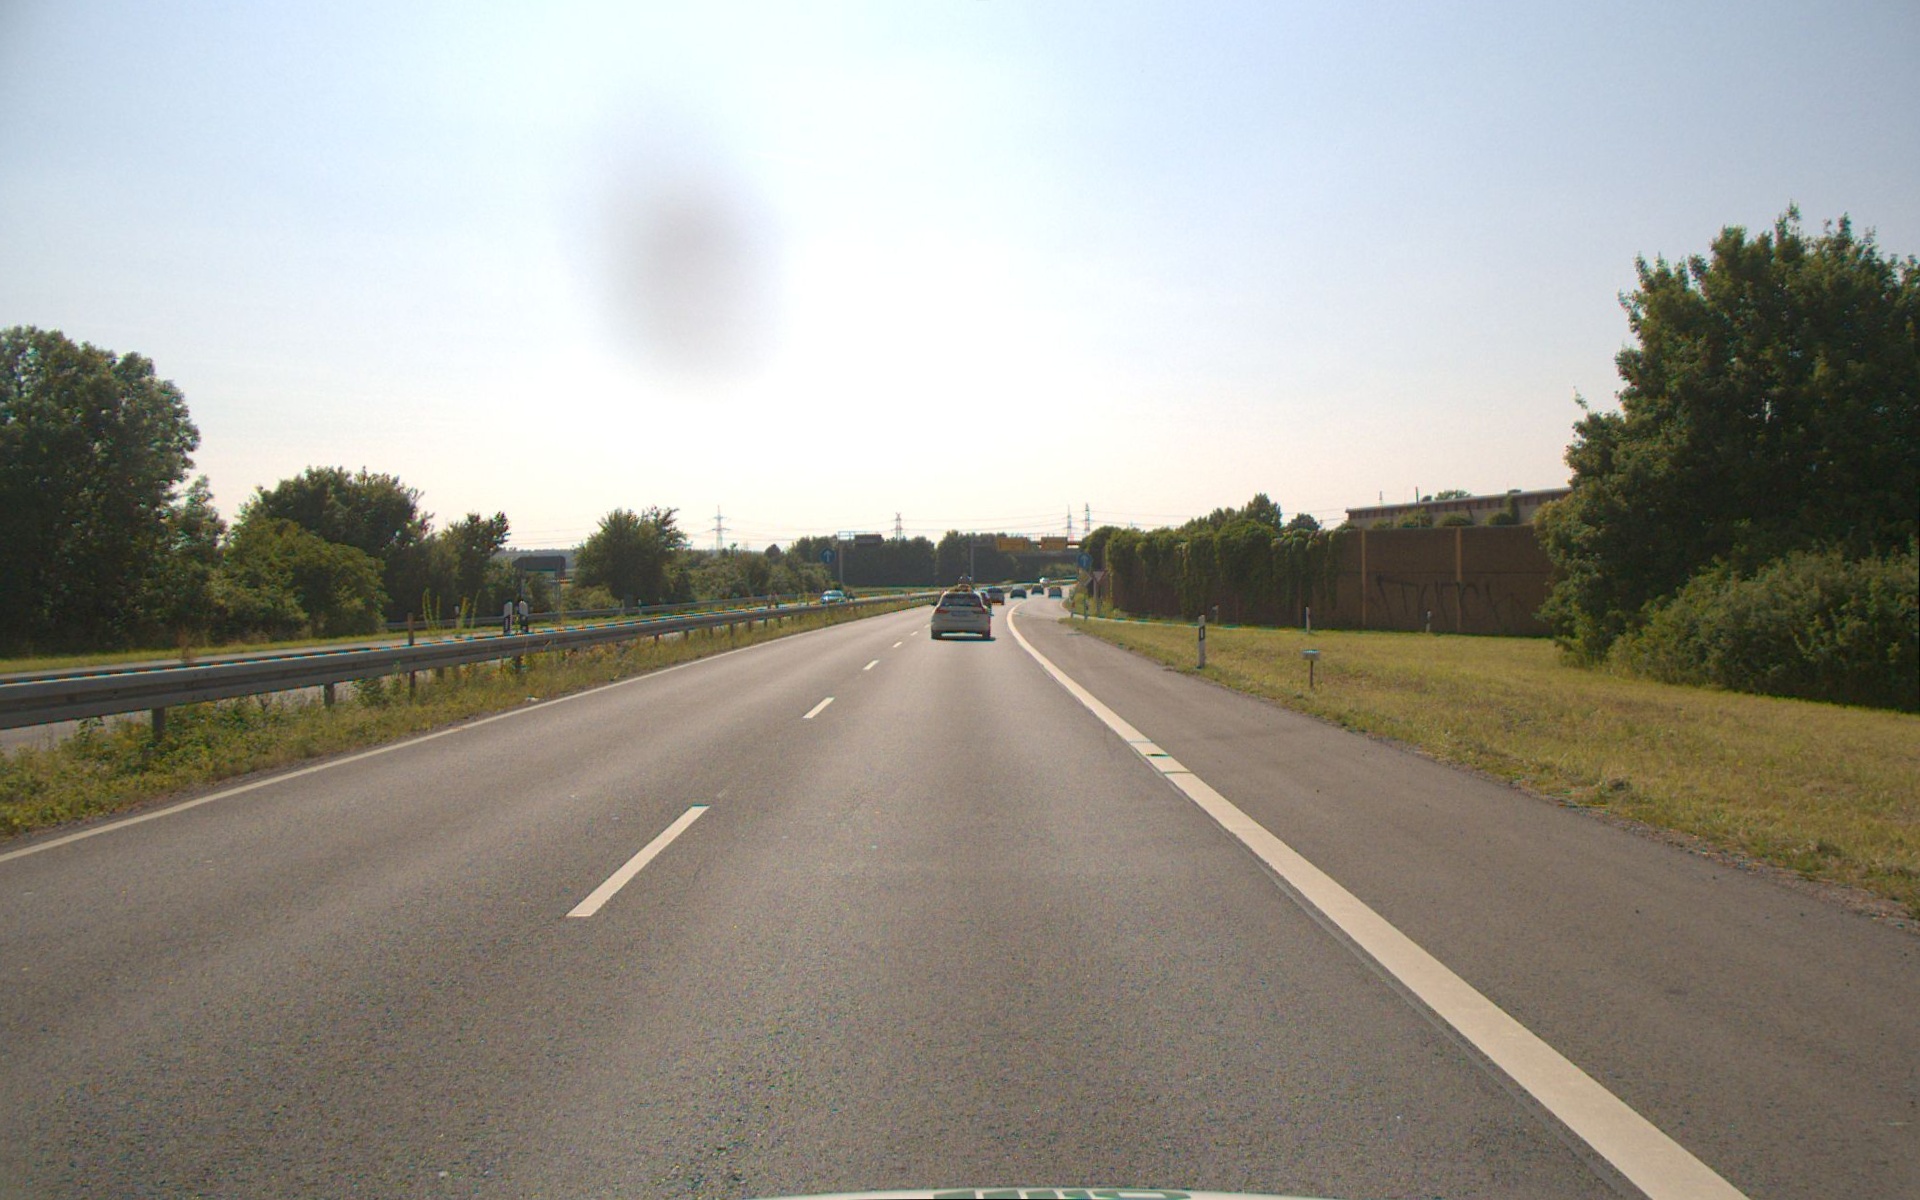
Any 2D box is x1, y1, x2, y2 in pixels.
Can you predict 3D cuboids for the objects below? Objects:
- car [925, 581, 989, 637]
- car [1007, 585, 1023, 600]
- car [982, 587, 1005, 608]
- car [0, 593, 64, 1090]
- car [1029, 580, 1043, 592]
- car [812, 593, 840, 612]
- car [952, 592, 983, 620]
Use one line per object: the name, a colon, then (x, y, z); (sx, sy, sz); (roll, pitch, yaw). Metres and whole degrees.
car: (-0.109, 0.243, 52.160); (1.918, 1.629, 4.107); (1, 1, -1)
car: (6.603, -0.878, 197.327); (1.803, 1.834, 4.002); (0, 0, 3)
car: (2.921, -0.238, 143.420); (1.731, 1.767, 3.634); (0, 0, 5)
car: (-3.631, 0.719, 3.001); (1.674, 1.462, 4.410); (-1, 0, -1)
car: (11.019, -2.023, 241.000); (1.802, 1.728, 4.003); (0, 0, 6)
car: (-10.465, 0.185, 129.596); (1.763, 1.445, 4.676); (1, 0, 1)
car: (0.439, 0.321, 97.242); (1.756, 1.570, 3.672); (0, 1, 1)
